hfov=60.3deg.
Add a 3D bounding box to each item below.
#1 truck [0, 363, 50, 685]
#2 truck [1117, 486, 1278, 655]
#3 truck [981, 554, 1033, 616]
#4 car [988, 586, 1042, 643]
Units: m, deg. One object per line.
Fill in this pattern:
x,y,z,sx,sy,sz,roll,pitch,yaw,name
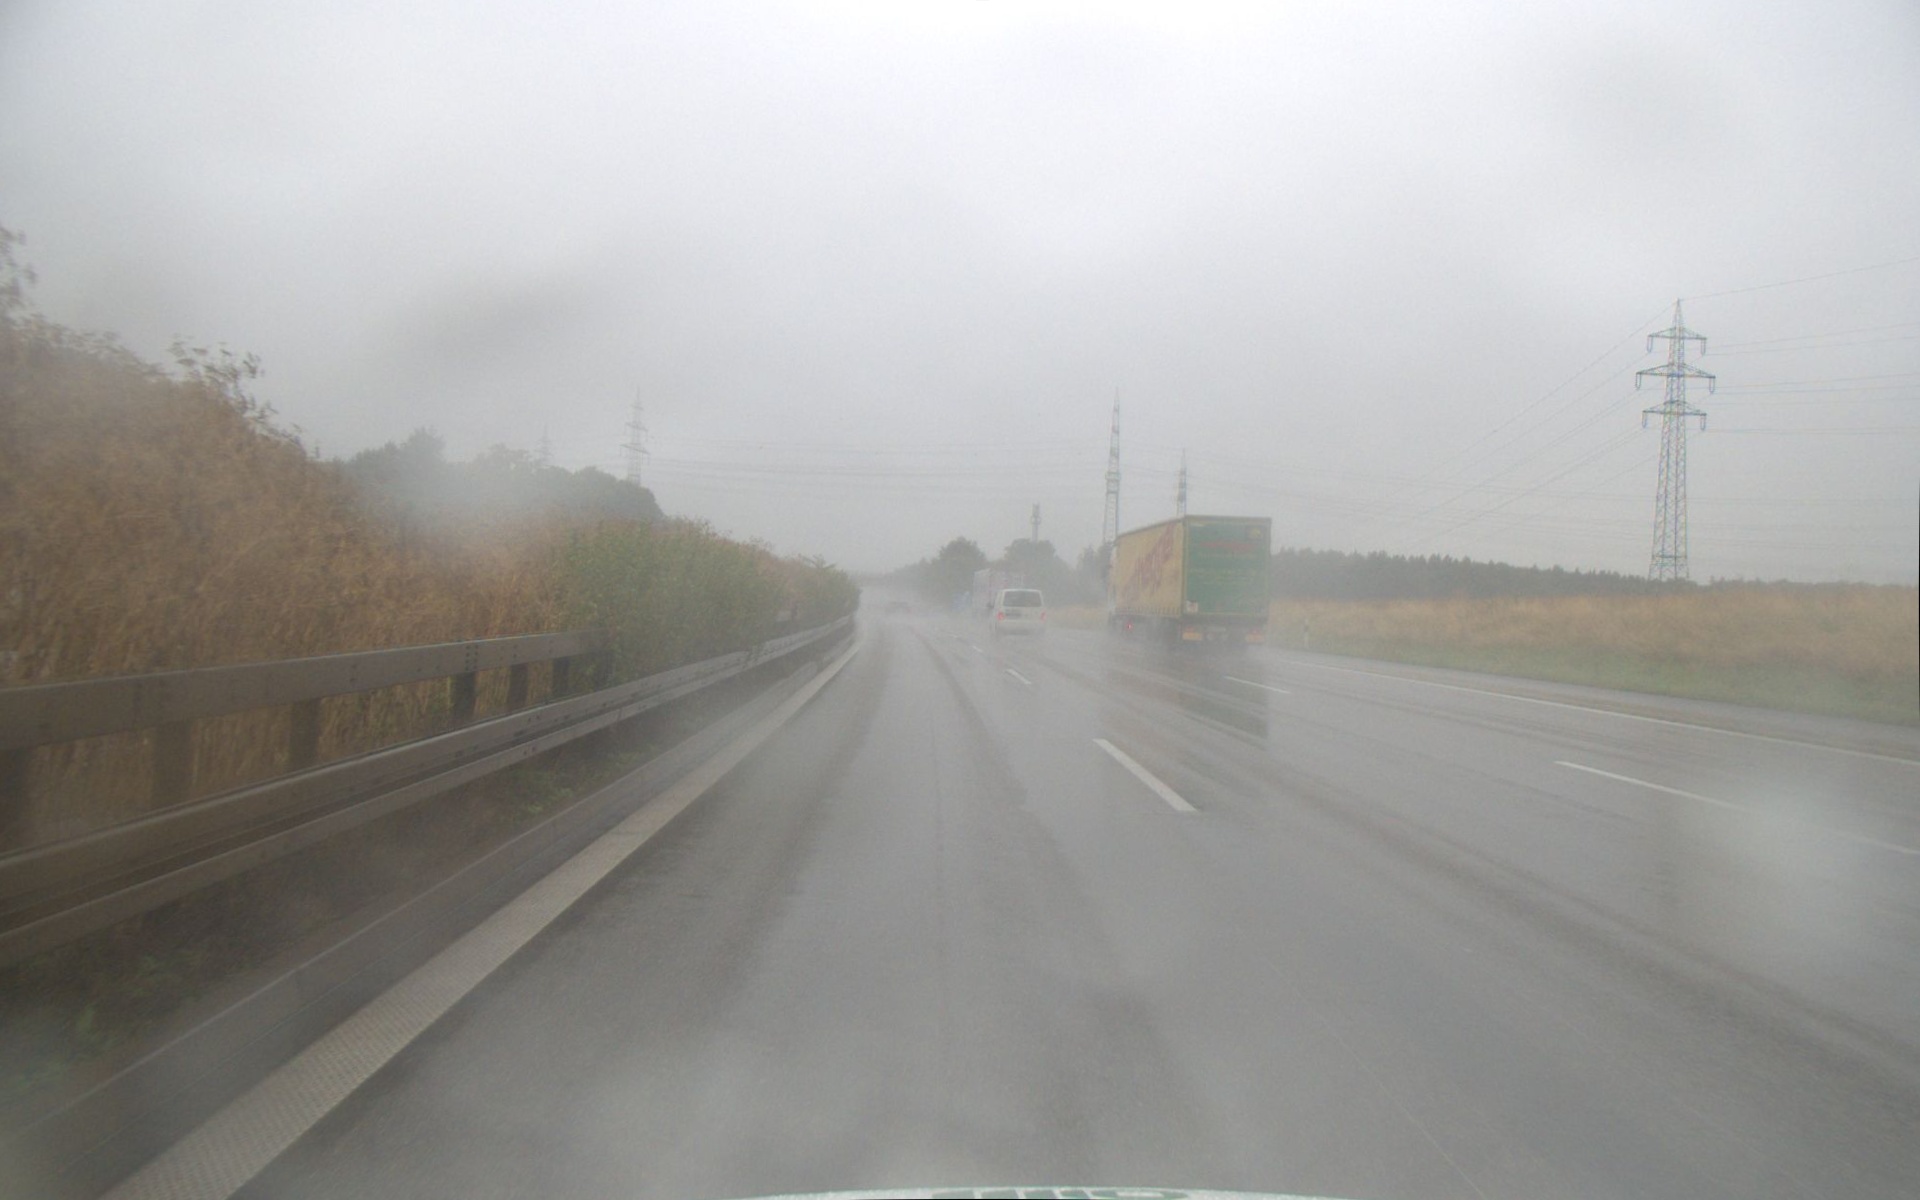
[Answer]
-17.469,-1.079,18.711,4.610,5.132,18.225,1,1,-1,truck
7.517,-0.846,55.027,4.101,4.711,16.113,1,0,4,truck
3.437,-1.125,123.108,3.168,4.386,8.833,1,1,-2,truck
2.125,0.500,62.717,1.952,2.049,4.002,1,1,3,car
